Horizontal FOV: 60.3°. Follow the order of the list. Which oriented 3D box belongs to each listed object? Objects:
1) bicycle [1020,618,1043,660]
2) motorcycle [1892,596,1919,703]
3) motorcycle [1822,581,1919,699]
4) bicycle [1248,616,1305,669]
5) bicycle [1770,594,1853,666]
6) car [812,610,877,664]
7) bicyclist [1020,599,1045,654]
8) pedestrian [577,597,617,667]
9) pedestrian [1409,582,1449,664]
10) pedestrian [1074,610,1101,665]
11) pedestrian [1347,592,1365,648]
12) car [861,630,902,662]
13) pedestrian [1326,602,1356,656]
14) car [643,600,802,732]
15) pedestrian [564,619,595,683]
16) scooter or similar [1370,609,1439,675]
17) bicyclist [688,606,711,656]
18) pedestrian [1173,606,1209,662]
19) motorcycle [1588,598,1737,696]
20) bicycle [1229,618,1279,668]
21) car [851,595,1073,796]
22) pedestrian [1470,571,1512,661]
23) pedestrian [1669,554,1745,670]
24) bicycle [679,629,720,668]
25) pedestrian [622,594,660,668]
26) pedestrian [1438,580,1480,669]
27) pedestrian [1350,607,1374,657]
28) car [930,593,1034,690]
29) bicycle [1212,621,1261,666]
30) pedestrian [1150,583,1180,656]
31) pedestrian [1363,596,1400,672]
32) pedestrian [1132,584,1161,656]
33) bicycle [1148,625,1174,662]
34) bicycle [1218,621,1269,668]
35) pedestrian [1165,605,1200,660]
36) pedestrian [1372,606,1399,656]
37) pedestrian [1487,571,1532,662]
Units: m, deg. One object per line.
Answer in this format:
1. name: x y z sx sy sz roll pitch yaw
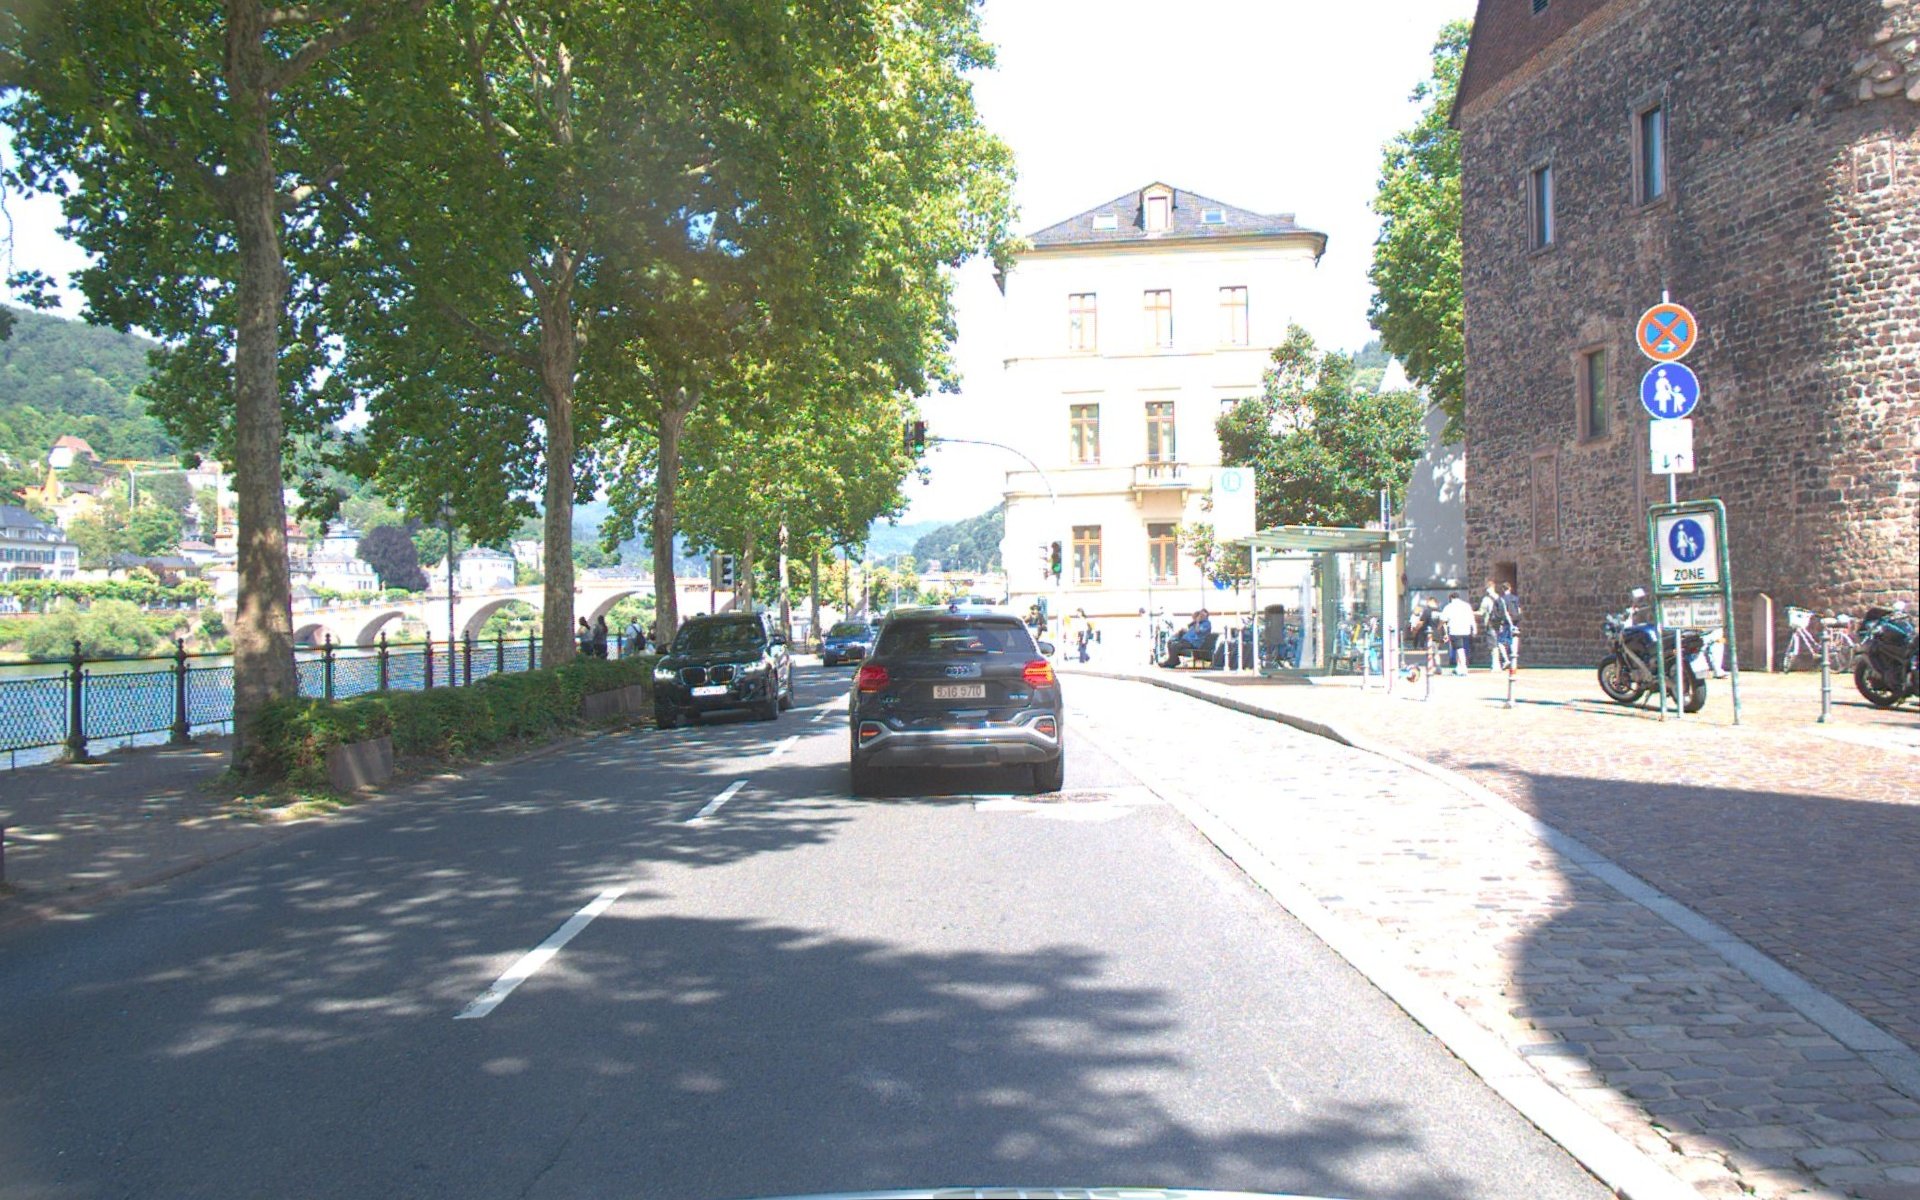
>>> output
1. bicycle: 1.948 1.060 45.109 0.428 1.105 1.675 1 -1 -5
2. motorcycle: 11.639 0.575 18.892 0.661 1.257 2.312 1 -1 -1
3. motorcycle: 10.767 0.450 18.904 0.642 1.288 2.199 0 -1 -1
4. bicycle: 6.883 0.930 35.957 1.284 1.147 0.178 1 -2 -19
5. bicycle: 15.156 0.536 29.485 0.381 1.231 1.715 1 -1 -8
6. car: -4.083 1.307 59.113 1.952 1.838 4.000 1 -1 1
7. bicyclist: 1.970 0.719 45.149 0.593 1.475 0.590 1 -1 -6
8. pedestrian: -9.744 0.859 44.435 0.891 1.843 0.586 1 -2 3
9. pedestrian: 10.679 0.519 37.662 0.638 1.834 0.847 0 -1 -2
10. pedestrian: 3.587 1.047 46.667 0.679 1.527 0.513 1 -1 -5
11. pedestrian: 12.095 0.617 50.488 0.440 1.710 0.466 1 -1 3
12. car: -4.249 2.490 90.169 1.952 1.654 4.000 1 -1 1
13. pedestrian: 14.453 1.097 62.769 0.925 2.049 0.807 1 -1 0
14. car: -3.700 0.980 26.521 1.777 1.754 4.421 -6 0 -1
15. pedestrian: -9.938 1.326 43.252 0.611 1.647 0.586 1 -1 4
16. scooter or similar: 7.493 0.703 27.869 1.067 1.084 0.323 1 -1 -3
17. bicyclist: -7.012 0.836 44.503 0.555 1.334 0.551 1 -1 -5
18. pedestrian: 5.156 0.752 36.895 0.651 1.233 0.640 1 -1 -7
19. motorcycle: 7.959 0.507 18.867 0.555 1.030 2.489 -1 0 -2
20. bicycle: 6.500 0.952 36.589 1.140 1.089 0.178 1 -2 -19
21. car: -0.002 0.739 14.573 1.707 1.535 3.646 0 0 -1
22. pedestrian: 11.808 0.358 36.778 0.655 1.954 0.821 1 -1 -2
23. pedestrian: 13.028 0.201 28.841 0.821 1.983 0.903 -1 -1 -38
24. bicycle: -7.003 1.309 44.444 1.072 1.024 0.303 1 -2 -7
25. pedestrian: -8.961 0.872 46.472 0.891 2.049 0.586 1 -1 3
26. pedestrian: 10.929 0.543 36.230 0.655 1.917 0.821 1 -1 -2
27. pedestrian: 16.722 1.341 68.778 0.822 2.049 0.738 1 -1 0
28. car: 0.355 0.718 29.961 1.756 1.623 3.398 1 0 -1
29. bicycle: 6.375 1.005 38.077 1.166 1.033 0.178 1 -2 -19
30. pedestrian: 5.841 0.564 47.063 0.626 2.049 0.664 0 -2 29
31. pedestrian: 7.946 0.646 31.172 0.546 1.409 0.588 1 -1 2
32. pedestrian: 5.391 0.586 47.765 0.626 2.049 0.664 0 -2 29
33. bicycle: 5.395 1.166 44.397 0.293 0.980 1.184 1 -1 -13
34. bicycle: 6.411 1.009 37.376 1.184 1.053 0.178 1 -2 -19
35. pedestrian: 5.067 0.741 37.706 0.651 1.253 0.640 1 -1 -7
36. pedestrian: 17.726 1.279 68.909 0.921 2.049 0.807 1 -1 0
37. pedestrian: 12.524 0.385 37.682 0.715 2.049 0.878 1 -1 -1
